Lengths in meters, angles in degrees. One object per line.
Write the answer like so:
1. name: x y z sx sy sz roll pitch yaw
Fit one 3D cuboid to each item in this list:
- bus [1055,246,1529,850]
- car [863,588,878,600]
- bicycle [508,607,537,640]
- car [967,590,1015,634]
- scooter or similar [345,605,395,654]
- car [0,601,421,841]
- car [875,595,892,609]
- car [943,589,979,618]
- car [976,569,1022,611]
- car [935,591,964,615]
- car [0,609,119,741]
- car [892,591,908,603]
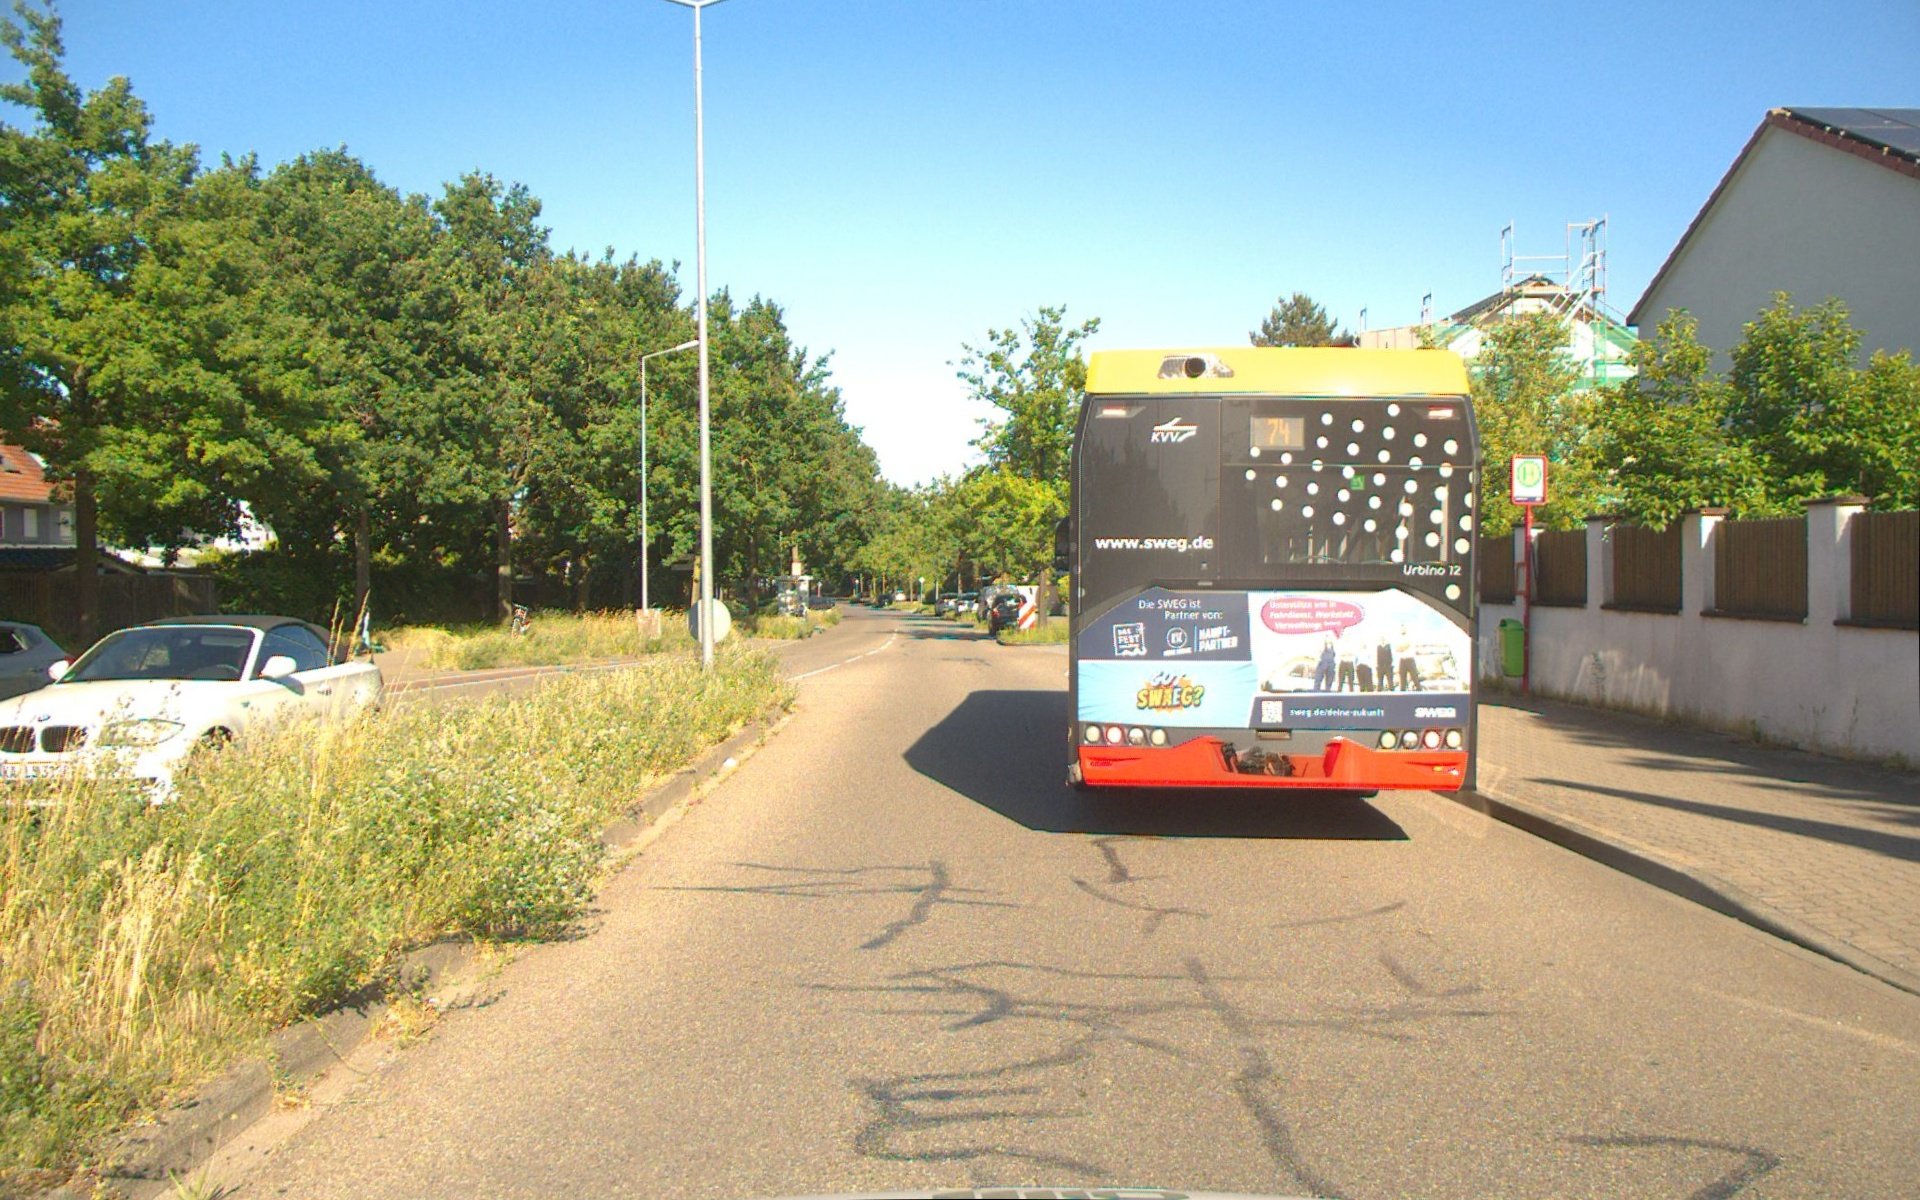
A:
1. bus: 2.315 -0.261 16.006 2.700 3.519 12.402 -1 0 3
2. car: -11.734 -0.764 216.422 1.895 1.479 3.996 0 0 -5
3. bicycle: -14.678 0.784 55.496 0.495 1.072 1.879 0 0 -1
4. car: 1.180 0.440 64.784 1.639 1.606 3.750 -2 0 -2
5. scooter or similar: -15.718 0.767 44.067 0.527 1.240 1.415 1 2 15
6. car: -5.955 0.786 12.827 1.952 1.476 4.400 -1 1 2
7. car: -8.935 0.207 191.774 1.895 1.569 3.997 0 0 -4
8. car: 0.045 0.195 100.342 1.897 1.734 3.997 0 0 -4
9. car: 1.871 -0.479 80.226 1.799 2.005 4.755 0 0 -4
10. car: -0.800 0.230 122.811 1.895 1.773 3.997 0 0 -4
11. car: -11.614 0.889 18.644 1.673 1.456 4.004 -2 0 11
12. car: -7.912 -0.400 217.978 1.895 1.479 3.996 0 0 -5
